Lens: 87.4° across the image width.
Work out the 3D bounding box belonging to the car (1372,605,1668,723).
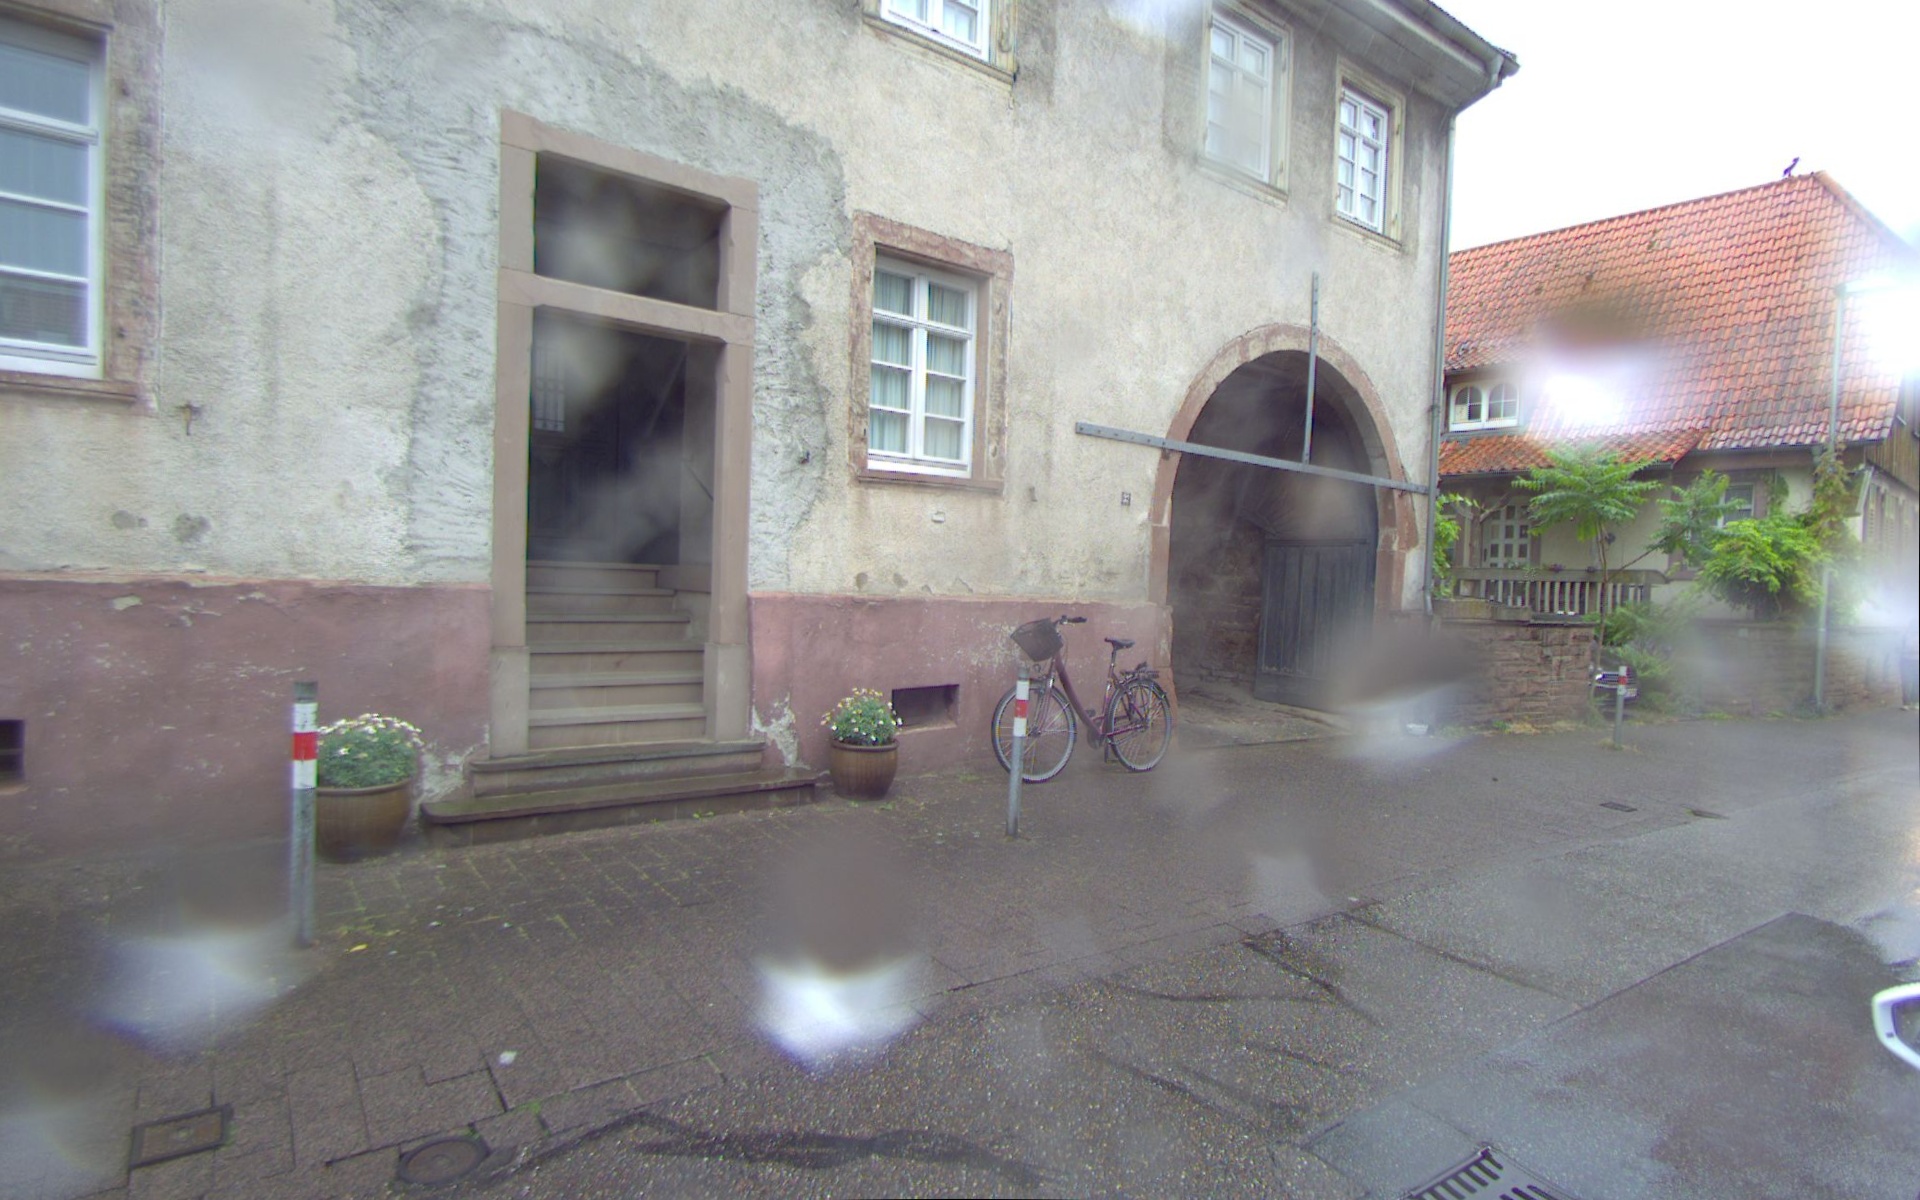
[{"bbox_3d":[8.249,0.868,15.069,1.578,1.394,3.505,2,1,-34],"label":"car"}]

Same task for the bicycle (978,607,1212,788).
[{"bbox_3d":[1.041,0.693,7.488,1.817,1.196,0.480,2,2,-35],"label":"bicycle"}]

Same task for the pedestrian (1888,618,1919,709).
[{"bbox_3d":[16.614,1.109,17.530,0.561,1.551,0.566,2,0,44],"label":"pedestrian"}]

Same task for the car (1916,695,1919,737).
[{"bbox_3d":[15.182,0.964,13.870,4.676,1.993,1.880,3,2,-35],"label":"car"}]
